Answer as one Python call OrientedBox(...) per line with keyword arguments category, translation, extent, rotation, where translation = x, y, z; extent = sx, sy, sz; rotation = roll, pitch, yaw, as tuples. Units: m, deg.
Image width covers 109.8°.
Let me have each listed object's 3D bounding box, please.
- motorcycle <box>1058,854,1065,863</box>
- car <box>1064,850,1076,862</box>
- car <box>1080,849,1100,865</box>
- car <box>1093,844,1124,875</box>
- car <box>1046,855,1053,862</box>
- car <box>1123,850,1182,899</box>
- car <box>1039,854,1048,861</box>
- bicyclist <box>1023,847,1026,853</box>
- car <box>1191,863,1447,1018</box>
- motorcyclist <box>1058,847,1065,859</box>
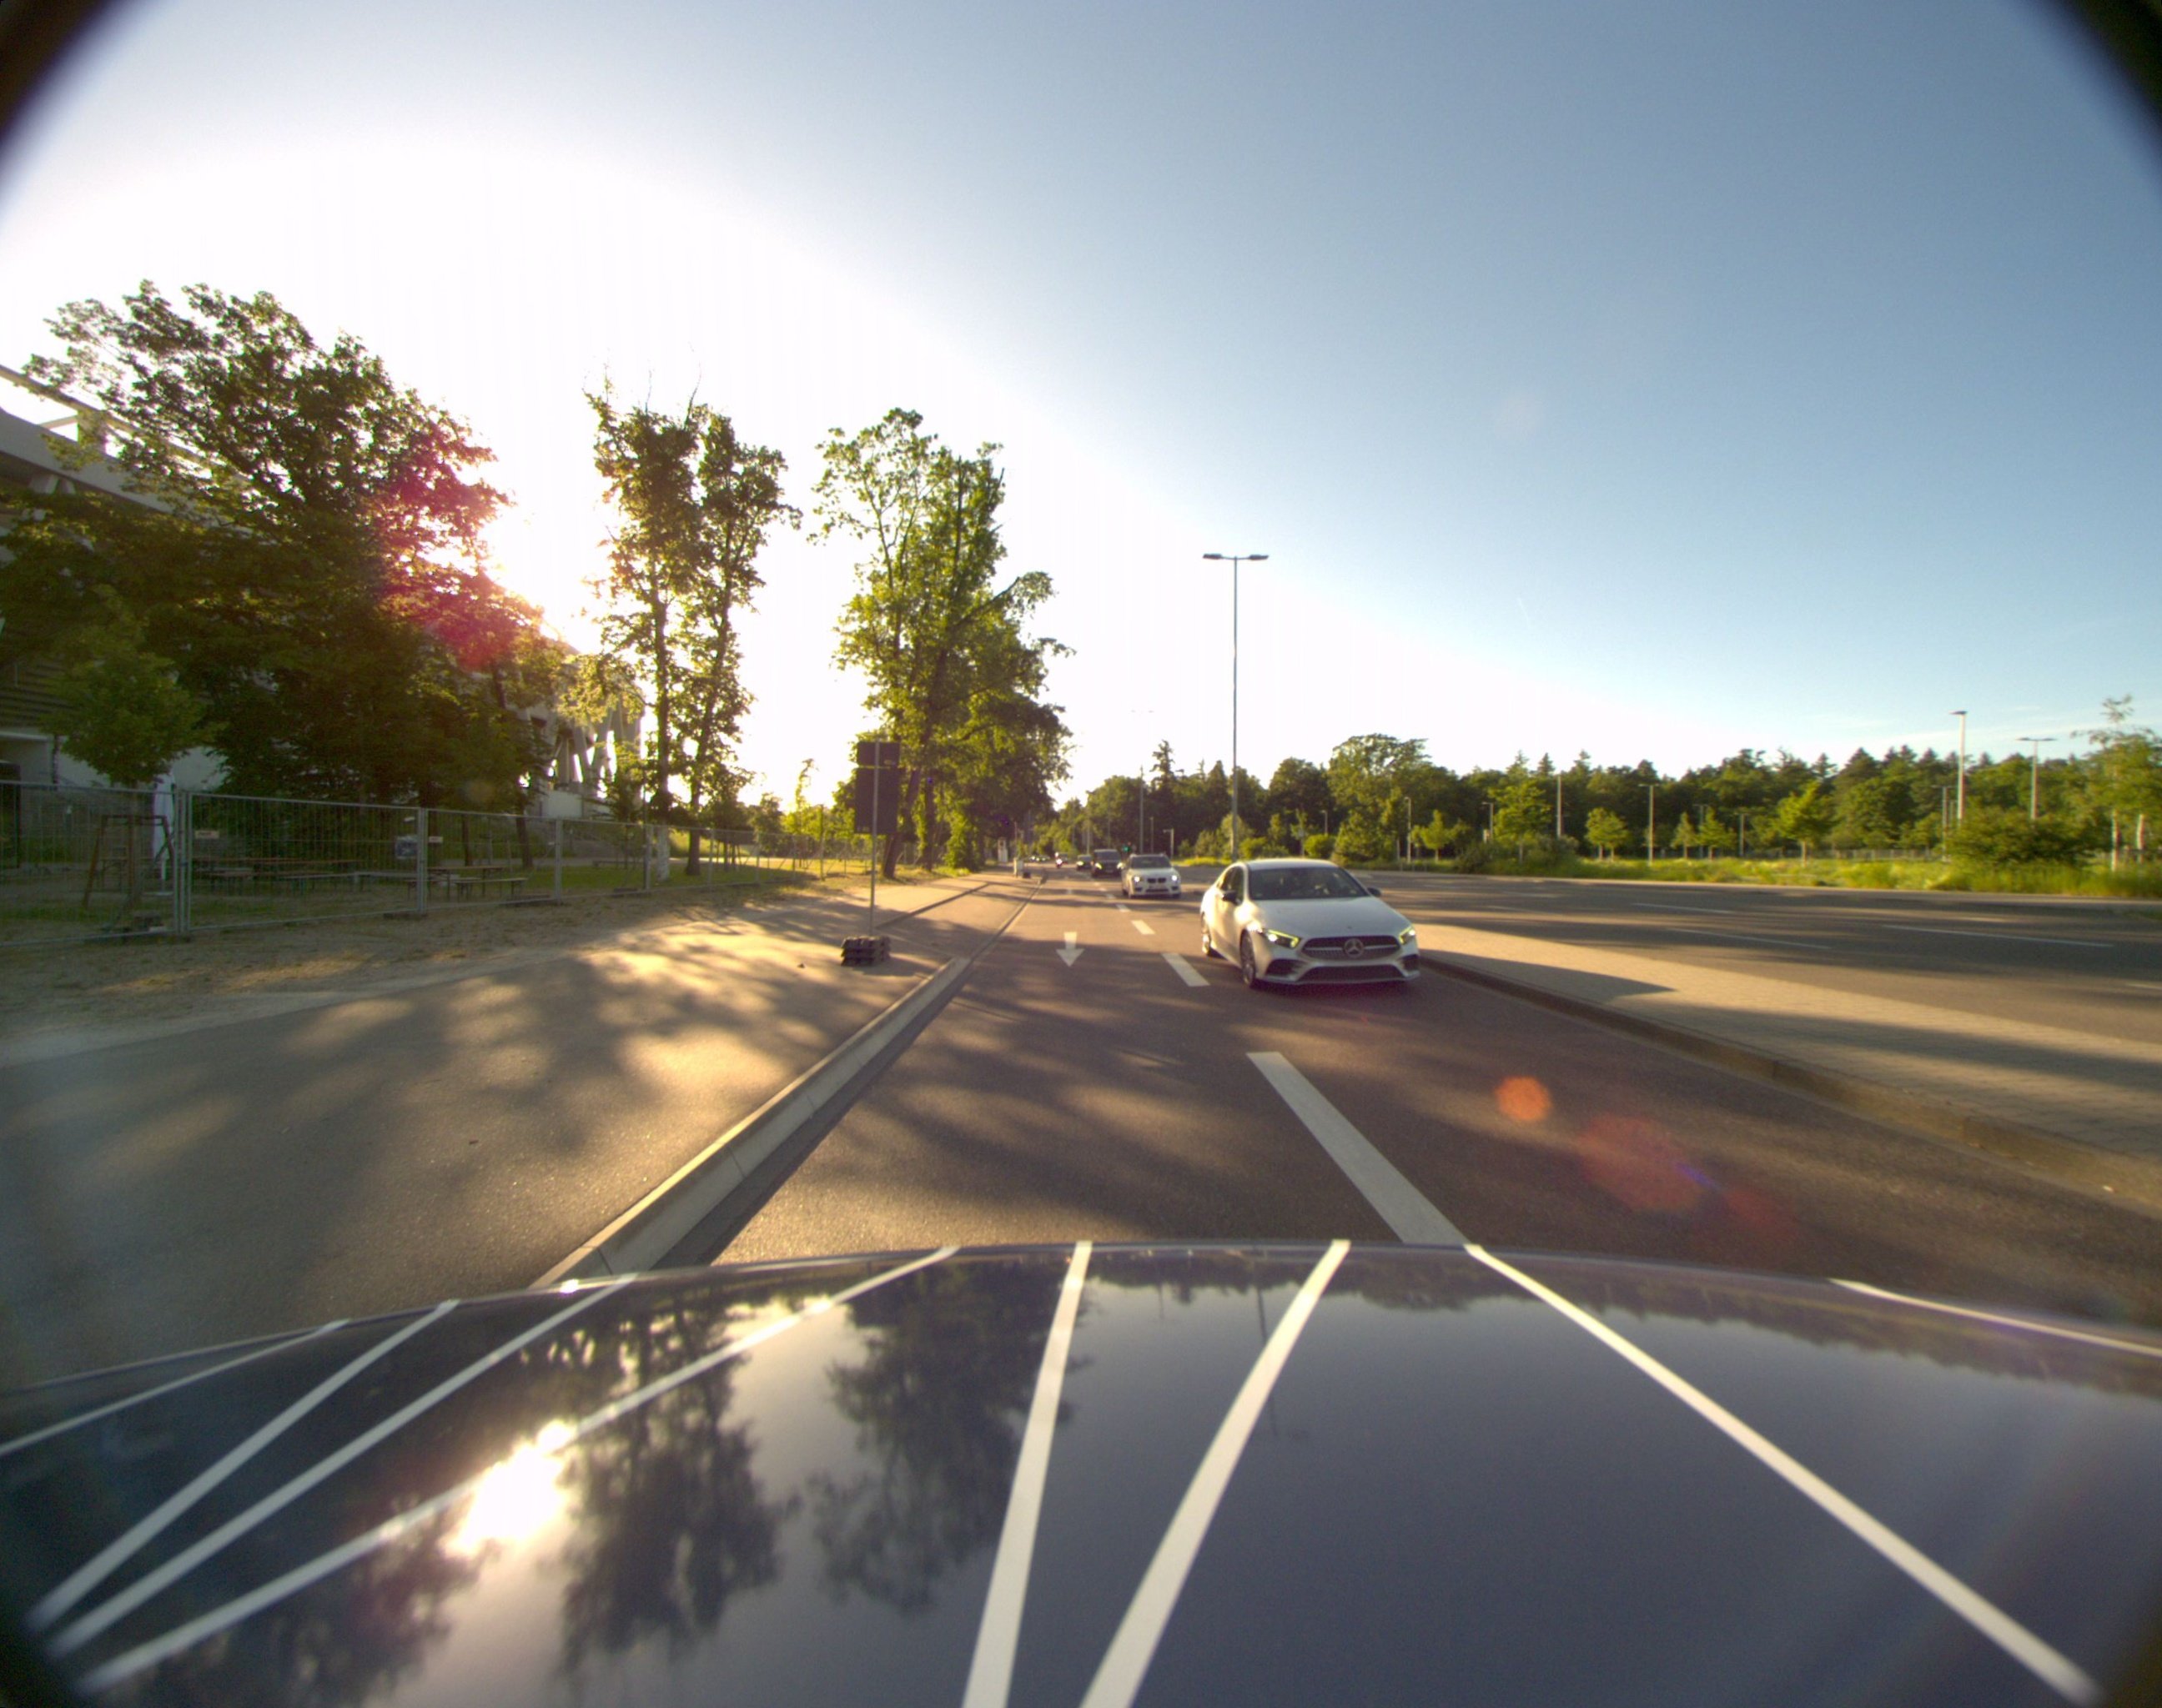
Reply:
OrientedBox(category="motorcycle", translation=(-2.390, 0.578, 93.450), extent=(0.717, 1.058, 2.721), rotation=(-2, 0, 1))
OrientedBox(category="car", translation=(-1.857, 0.366, 132.191), extent=(1.883, 1.951, 5.048), rotation=(-2, 0, 0))
OrientedBox(category="car", translation=(0.909, 0.254, 77.783), extent=(1.883, 1.528, 3.999), rotation=(-2, 1, 0))
OrientedBox(category="car", translation=(1.807, 0.432, 51.093), extent=(1.912, 1.844, 4.875), rotation=(-2, -2, 1))
OrientedBox(category="car", translation=(-8.809, 1.157, 212.365), extent=(1.675, 1.827, 3.982), rotation=(-2, 1, 1))
OrientedBox(category="car", translation=(2.506, 0.703, 27.496), extent=(1.723, 1.571, 4.434), rotation=(-2, 0, 1))
OrientedBox(category="car", translation=(-9.027, 0.804, 183.033), extent=(1.883, 1.629, 5.048), rotation=(-2, 0, 0))
OrientedBox(category="bicyclist", translation=(-11.641, -0.822, 156.931), extent=(0.451, 1.412, 0.575), rotation=(0, 1, 0))
OrientedBox(category="car", translation=(2.654, 0.871, 9.620), extent=(1.790, 1.436, 4.277), rotation=(-2, 0, -1))
OrientedBox(category="motorcyclist", translation=(-2.412, -0.147, 92.739), extent=(0.822, 1.367, 0.476), rotation=(-2, 1, 1))
